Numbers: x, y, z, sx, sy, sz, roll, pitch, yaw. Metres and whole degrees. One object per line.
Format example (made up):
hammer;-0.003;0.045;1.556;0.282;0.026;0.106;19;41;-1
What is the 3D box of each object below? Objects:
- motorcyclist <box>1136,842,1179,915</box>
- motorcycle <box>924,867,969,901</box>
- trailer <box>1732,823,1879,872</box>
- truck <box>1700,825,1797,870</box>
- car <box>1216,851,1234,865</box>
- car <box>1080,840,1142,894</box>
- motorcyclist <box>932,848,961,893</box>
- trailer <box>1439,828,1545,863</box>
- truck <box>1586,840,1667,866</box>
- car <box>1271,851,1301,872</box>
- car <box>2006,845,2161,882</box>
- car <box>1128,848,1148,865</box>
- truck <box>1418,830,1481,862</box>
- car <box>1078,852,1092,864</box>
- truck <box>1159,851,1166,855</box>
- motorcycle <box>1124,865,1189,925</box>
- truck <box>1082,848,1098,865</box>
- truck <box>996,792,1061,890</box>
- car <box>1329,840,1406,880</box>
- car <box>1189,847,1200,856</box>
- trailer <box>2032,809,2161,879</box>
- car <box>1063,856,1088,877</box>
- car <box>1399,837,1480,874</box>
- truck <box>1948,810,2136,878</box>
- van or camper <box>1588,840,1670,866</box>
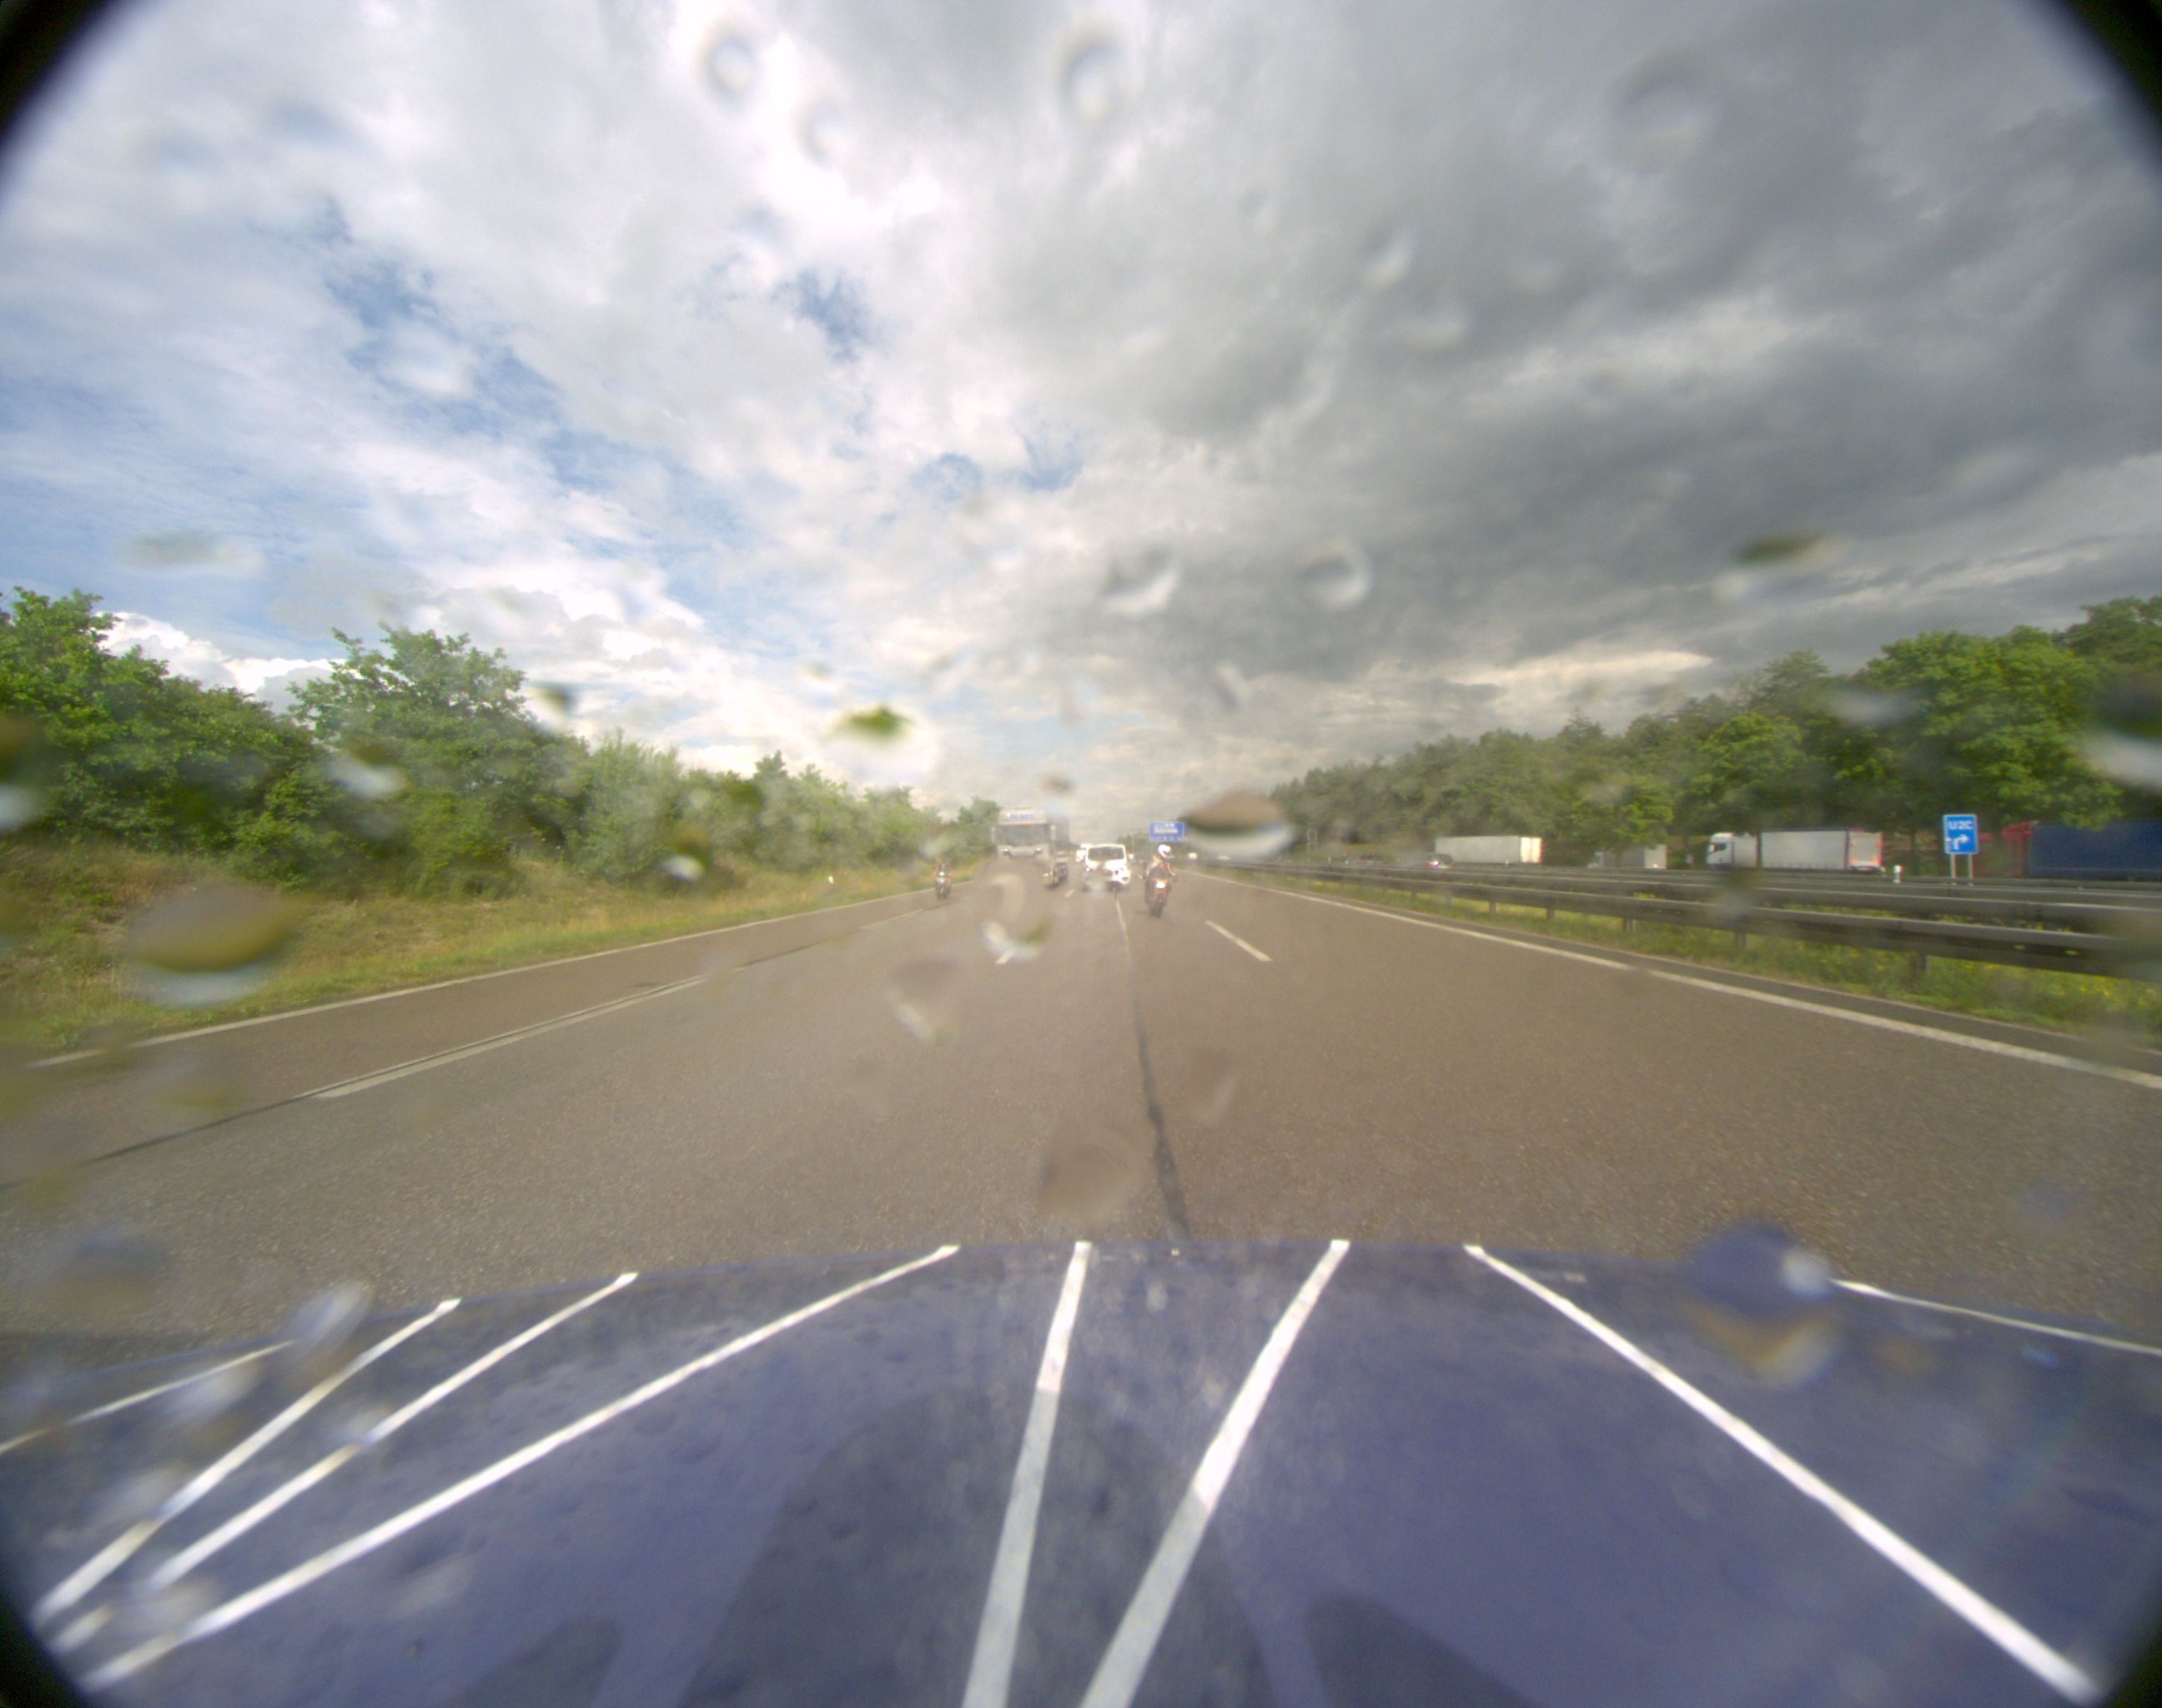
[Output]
motorcyclist;1.848;0.573;18.477;0.883;1.696;1.000;-2;1;0
motorcycle;-5.251;1.134;29.877;1.188;1.142;3.194;-2;1;-1
trailer;51.764;-0.485;54.637;2.587;3.214;7.735;-1;1;-8
truck;51.168;-0.500;58.400;2.662;3.249;5.082;-2;1;-8
car;21.698;0.581;114.585;1.834;1.880;4.779;-2;1;2
car;1.256;0.480;32.338;2.349;2.033;5.143;-2;1;2
motorcyclist;-5.258;0.635;29.704;0.883;1.696;1.000;-2;1;0
trailer;45.935;-0.930;85.660;3.215;3.717;12.555;-1;0;-12
truck;49.683;-0.086;69.405;2.125;2.252;6.312;-2;1;-11
car;20.526;0.712;76.131;1.834;1.880;4.779;-2;1;2
car;61.701;0.517;46.637;2.000;2.002;6.129;-2;1;-6
car;7.338;0.287;97.872;2.349;2.033;5.143;-2;1;2
truck;44.547;-0.979;92.094;3.218;3.683;6.908;-2;1;-12
car;0.724;0.744;139.706;2.349;2.033;5.143;-2;1;2
truck;24.328;-0.371;227.186;1.893;1.187;4.000;-2;1;2
motorcycle;1.782;0.940;18.632;1.188;1.219;3.194;-2;1;-1
truck;2.137;0.484;169.495;3.217;3.607;10.154;-2;1;2
truck;-2.433;-0.605;37.145;2.650;4.250;6.883;-2;1;-1
car;14.921;0.256;39.875;2.306;1.880;4.779;-2;1;2
car;26.369;-0.595;176.171;1.834;2.033;4.779;-2;1;2
trailer;53.920;-0.505;34.909;2.831;3.385;13.419;-1;0;-5
car;-0.581;1.279;81.354;2.349;2.033;5.143;-2;1;2
car;19.799;0.041;42.230;2.306;1.880;4.779;-2;1;2
truck;53.307;-0.536;42.404;2.869;3.436;5.893;-2;1;-5
van or camper;49.754;-0.087;69.248;2.125;2.252;6.317;-2;1;-11
